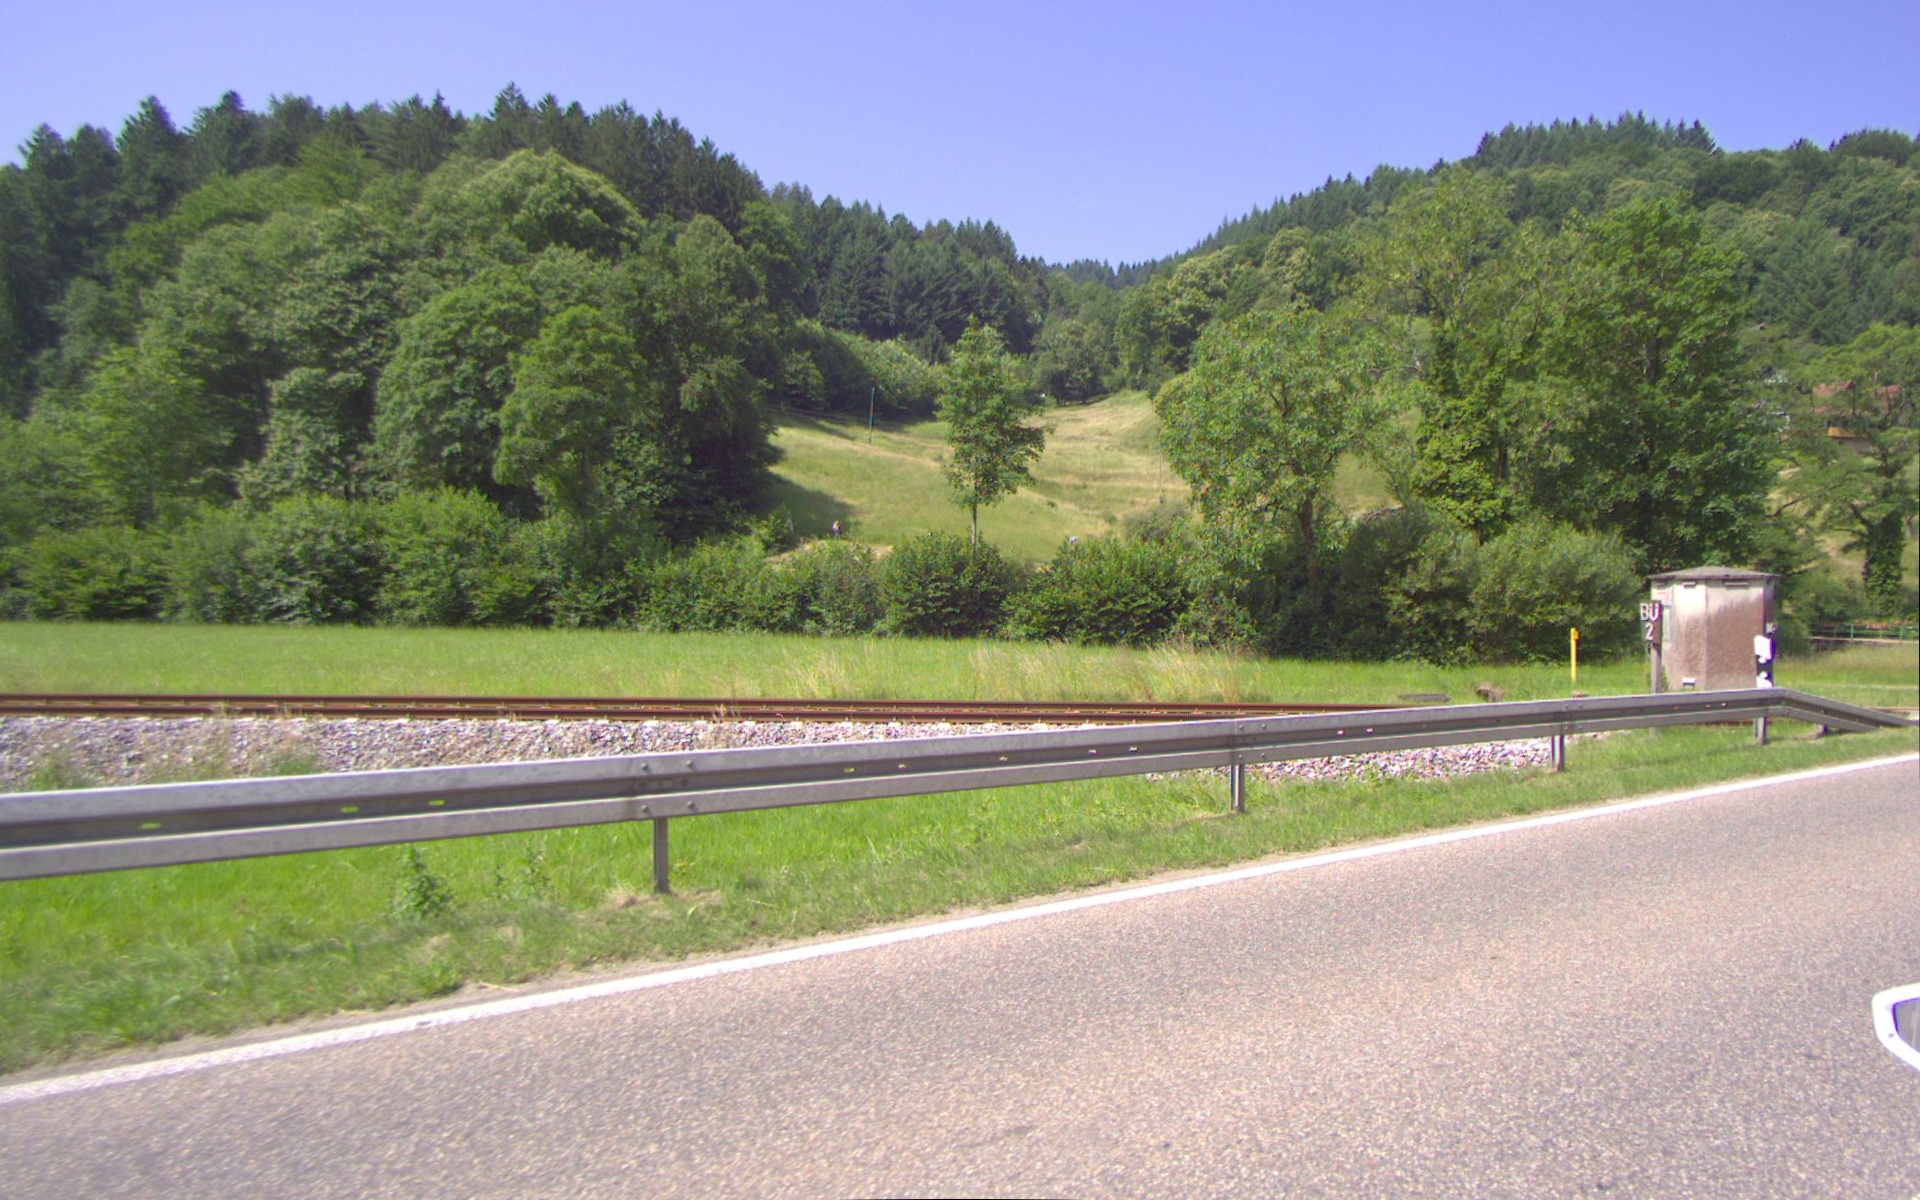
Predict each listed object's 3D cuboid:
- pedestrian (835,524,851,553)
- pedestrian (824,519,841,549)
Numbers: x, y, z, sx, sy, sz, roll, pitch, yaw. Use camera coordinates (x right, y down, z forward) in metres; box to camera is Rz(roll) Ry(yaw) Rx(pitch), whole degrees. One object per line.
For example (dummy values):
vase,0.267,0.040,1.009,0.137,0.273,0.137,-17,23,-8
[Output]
pedestrian,-10.026,-5.271,86.018,1.060,2.398,1.075,1,0,-31
pedestrian,-10.660,-5.534,84.217,1.060,2.398,1.075,1,-1,-31
